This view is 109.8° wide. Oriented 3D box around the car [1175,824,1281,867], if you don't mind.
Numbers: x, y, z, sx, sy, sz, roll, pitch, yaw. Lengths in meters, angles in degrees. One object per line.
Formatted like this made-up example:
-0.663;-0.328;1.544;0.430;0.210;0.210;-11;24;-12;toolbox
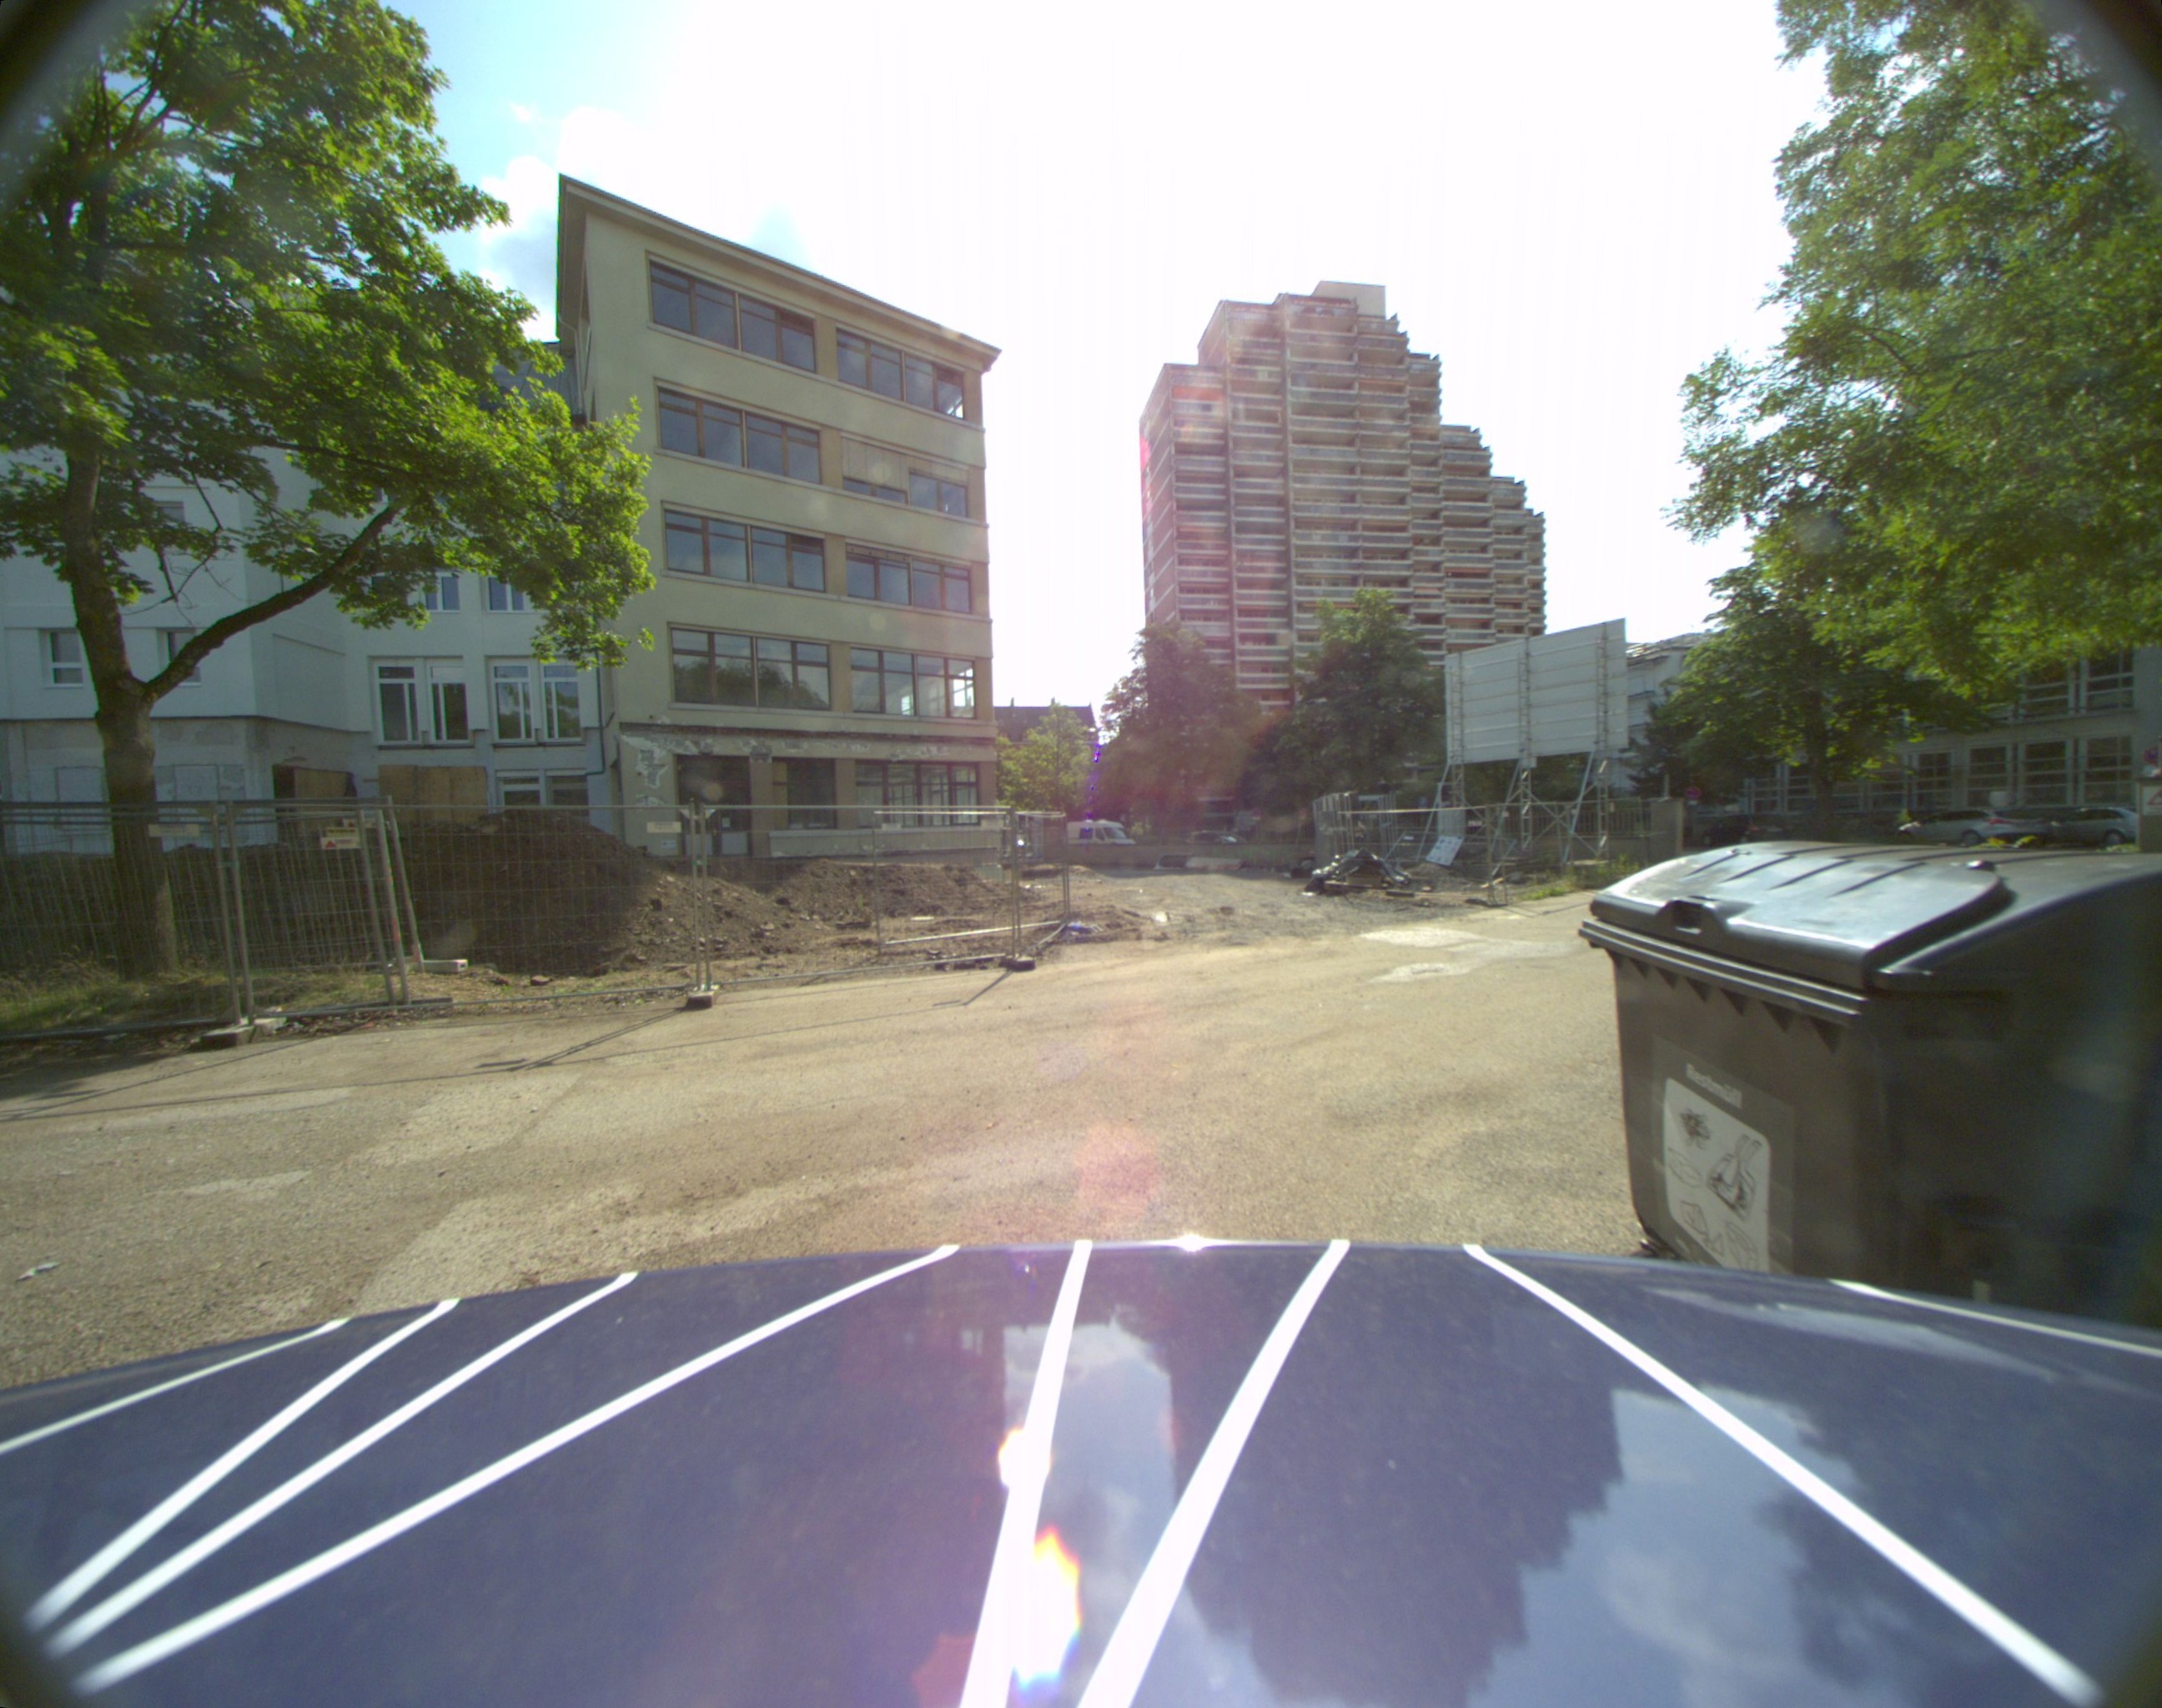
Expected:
7.214;-0.434;37.865;2.004;2.002;5.294;1;1;-34;car

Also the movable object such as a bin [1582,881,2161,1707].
2.014;0.830;1.563;1.247;1.473;1.297;-1;1;12;movable object such as a bin

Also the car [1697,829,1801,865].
30.097;-0.264;34.387;1.757;1.453;4.005;-3;-2;13;car

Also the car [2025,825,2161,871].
35.816;-0.173;26.421;1.722;1.467;3.787;2;0;12;car

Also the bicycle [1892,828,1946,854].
38.233;-0.592;34.684;2.055;1.080;0.497;-2;-1;-6;bicycle

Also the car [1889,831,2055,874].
34.102;0.000;29.286;1.780;1.455;4.239;3;-1;8;car

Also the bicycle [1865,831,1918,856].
37.778;-0.491;35.413;2.055;1.080;0.497;-2;-1;-6;bicycle

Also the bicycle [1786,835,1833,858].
37.428;-0.407;39.055;2.055;1.080;0.497;-2;-1;-6;bicycle

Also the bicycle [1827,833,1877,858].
37.686;-0.412;37.150;2.055;1.080;0.497;-2;-1;-6;bicycle

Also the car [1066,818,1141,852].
1.342;-1.170;47.915;2.004;2.002;5.294;1;1;-34;car
